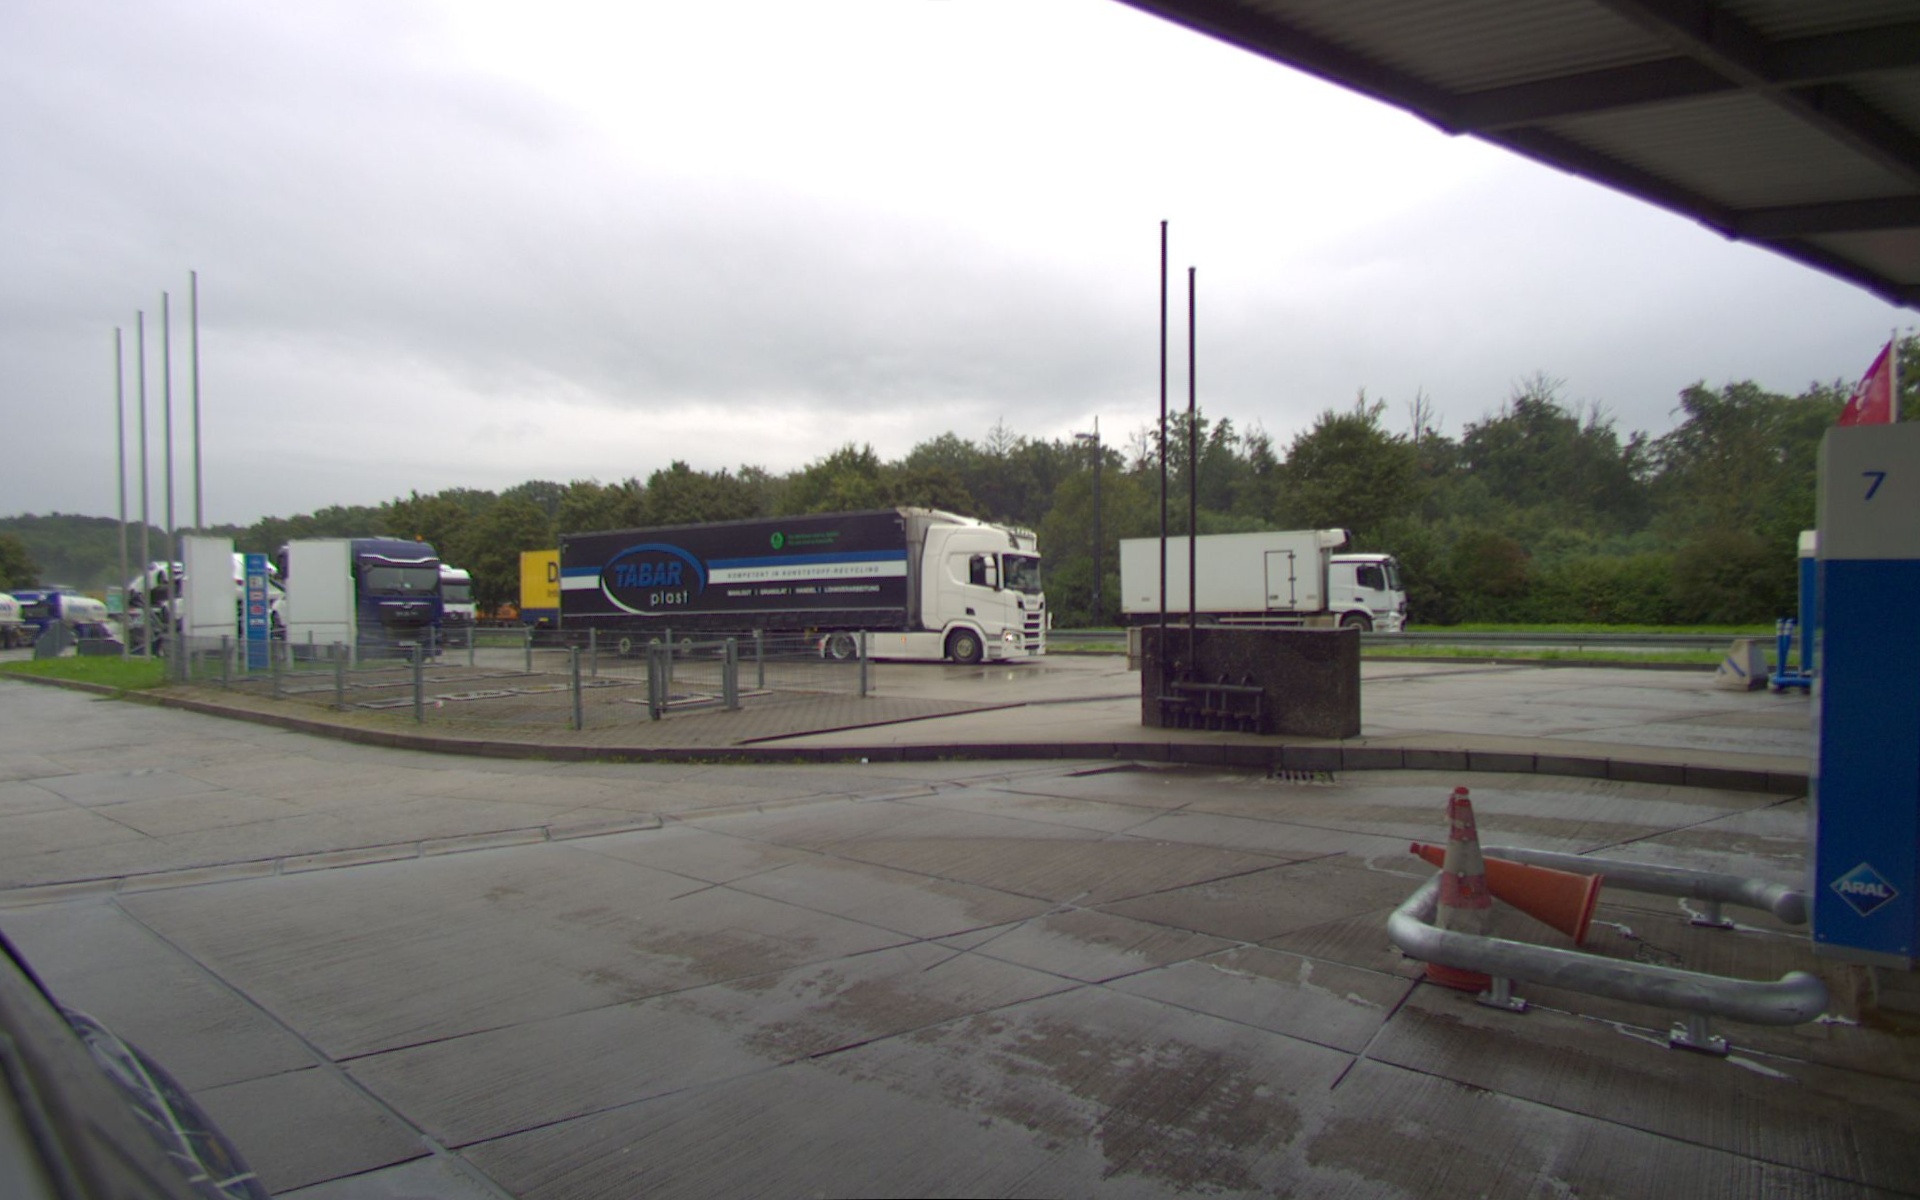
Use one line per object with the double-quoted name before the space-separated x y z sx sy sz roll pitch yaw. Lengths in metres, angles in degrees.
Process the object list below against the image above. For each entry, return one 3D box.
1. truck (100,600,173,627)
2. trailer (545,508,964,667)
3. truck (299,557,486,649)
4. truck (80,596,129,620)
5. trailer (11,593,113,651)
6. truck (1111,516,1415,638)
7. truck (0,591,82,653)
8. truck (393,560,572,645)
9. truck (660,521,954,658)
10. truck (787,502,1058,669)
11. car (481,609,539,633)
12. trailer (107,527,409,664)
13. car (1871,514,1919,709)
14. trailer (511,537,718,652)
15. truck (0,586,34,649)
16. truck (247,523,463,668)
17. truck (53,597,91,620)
"truck" -115.408 1.891 141.631 16.515 3.591 3.215 -1 0 34
"trailer" -6.624 -0.248 30.476 13.747 4.063 2.962 -1 0 29
"truck" -27.302 0.180 48.458 10.433 4.063 2.961 -1 0 30
"truck" -136.996 1.286 161.959 11.949 3.591 3.213 -1 0 36
"trailer" -62.269 1.436 70.497 2.854 3.666 10.605 -1 0 -28
"truck" 11.078 -0.728 37.682 10.433 4.063 2.961 -1 0 30
"truck" -59.424 1.373 65.010 3.000 3.796 6.486 -1 0 -27
"truck" -24.781 0.146 52.287 10.433 4.063 2.961 -1 0 30
"truck" -5.393 -0.265 33.966 10.608 4.063 2.743 -1 0 33
"truck" -1.029 -0.319 27.368 6.704 4.063 2.966 -1 0 25
"car" -42.278 2.002 95.006 5.612 2.192 2.393 -1 -1 35
"trailer" -25.419 -0.053 35.936 16.563 4.063 2.957 -1 0 34
"car" 14.840 0.118 12.348 5.272 2.482 2.298 -1 -2 37
"trailer" -13.548 -0.161 39.300 8.833 4.063 2.743 -1 0 33
"truck" -55.559 1.020 55.030 3.196 3.591 12.013 -1 0 -19
"truck" -18.995 -0.110 31.633 7.244 4.063 2.957 -1 0 34
"truck" -139.108 1.330 158.520 9.306 3.504 2.588 -1 0 36
